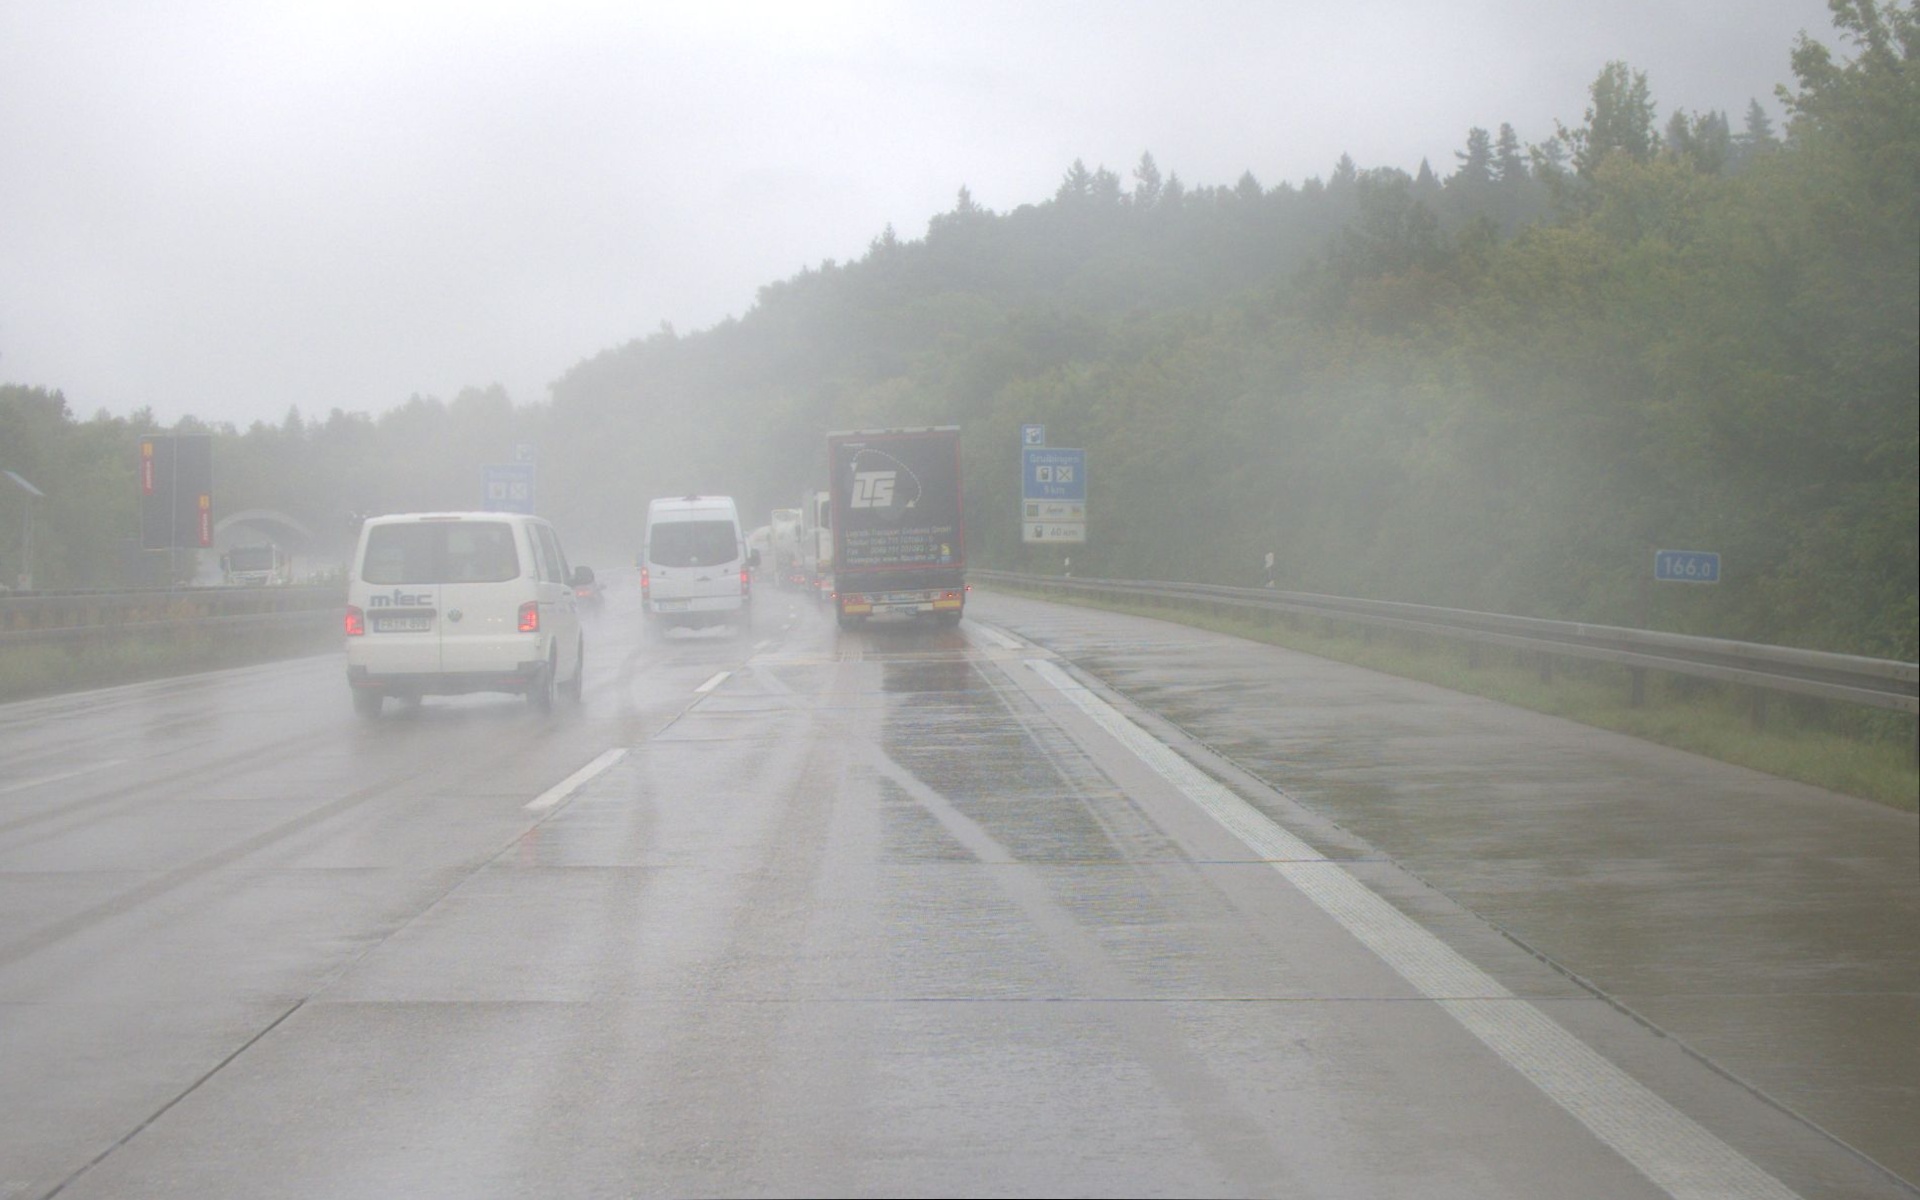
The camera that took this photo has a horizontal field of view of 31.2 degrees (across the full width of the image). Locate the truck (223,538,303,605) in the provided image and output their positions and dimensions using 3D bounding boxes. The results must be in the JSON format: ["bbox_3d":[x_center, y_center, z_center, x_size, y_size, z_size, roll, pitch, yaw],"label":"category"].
[{"bbox_3d":[-32.812,-1.388,162.068,2.297,3.008,7.923,1,1,-1],"label":"truck"}]

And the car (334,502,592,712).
[{"bbox_3d":[-4.774,0.030,33.674,1.899,1.888,5.043,0,1,-1],"label":"car"}]

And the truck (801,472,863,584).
[{"bbox_3d":[-4.526,-2.517,121.022,1.993,3.793,6.734,-1,1,-3],"label":"truck"}]

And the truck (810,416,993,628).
[{"bbox_3d":[-1.261,-1.707,70.592,3.385,3.954,8.668,-2,3,-2],"label":"truck"}]

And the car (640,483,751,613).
[{"bbox_3d":[-4.979,-0.976,64.177,1.899,2.326,5.252,0,1,-6],"label":"car"}]

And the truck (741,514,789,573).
[{"bbox_3d":[-10.717,-3.107,188.550,1.993,3.159,6.735,-1,1,-8],"label":"truck"}]

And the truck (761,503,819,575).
[{"bbox_3d":[-7.758,-2.771,156.346,1.993,3.159,6.735,-1,1,-8],"label":"truck"}]
